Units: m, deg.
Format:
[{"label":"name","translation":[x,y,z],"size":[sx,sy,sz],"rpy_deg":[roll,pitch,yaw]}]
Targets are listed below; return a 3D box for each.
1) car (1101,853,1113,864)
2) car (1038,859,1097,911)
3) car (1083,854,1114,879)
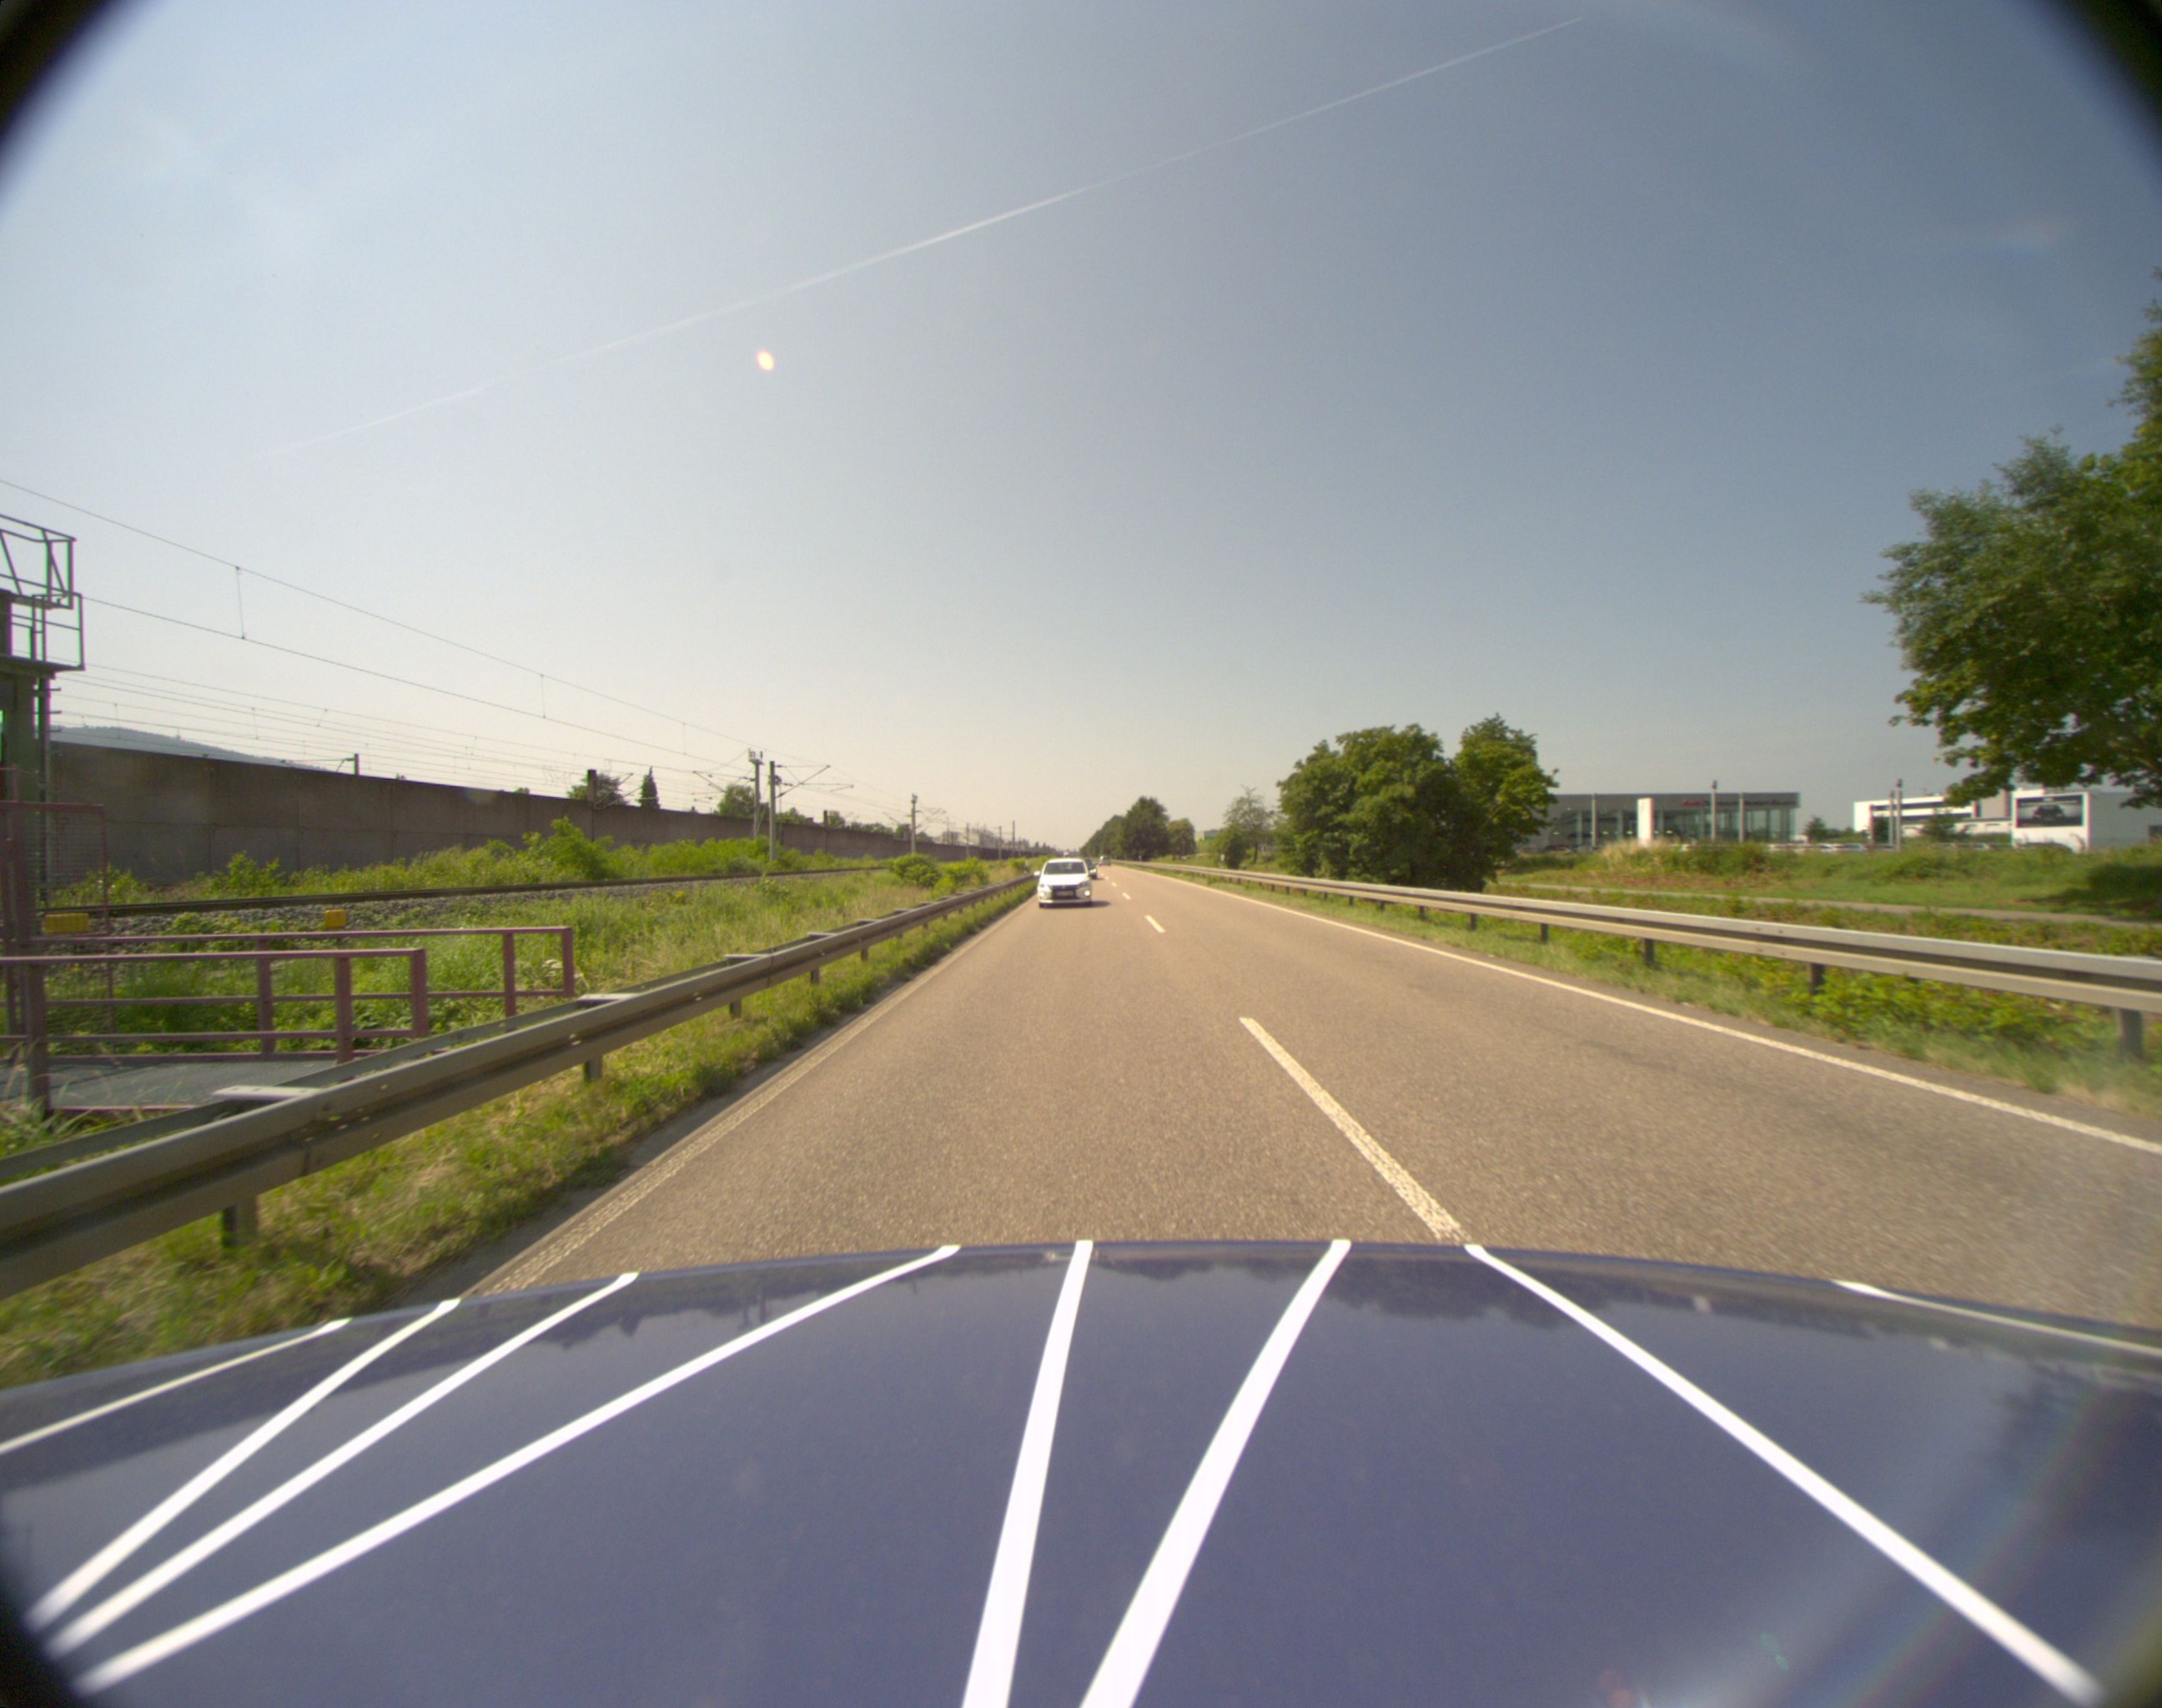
[{"label":"car","translation":[4.005,0.659,117.033],"size":[1.702,1.466,4.686],"rpy_deg":[-2,0,0]},{"label":"car","translation":[-0.459,0.915,24.532],"size":[1.701,1.470,4.154],"rpy_deg":[-1,0,-1]},{"label":"car","translation":[1.069,0.749,48.604],"size":[1.711,1.470,4.154],"rpy_deg":[-1,0,-1]}]
